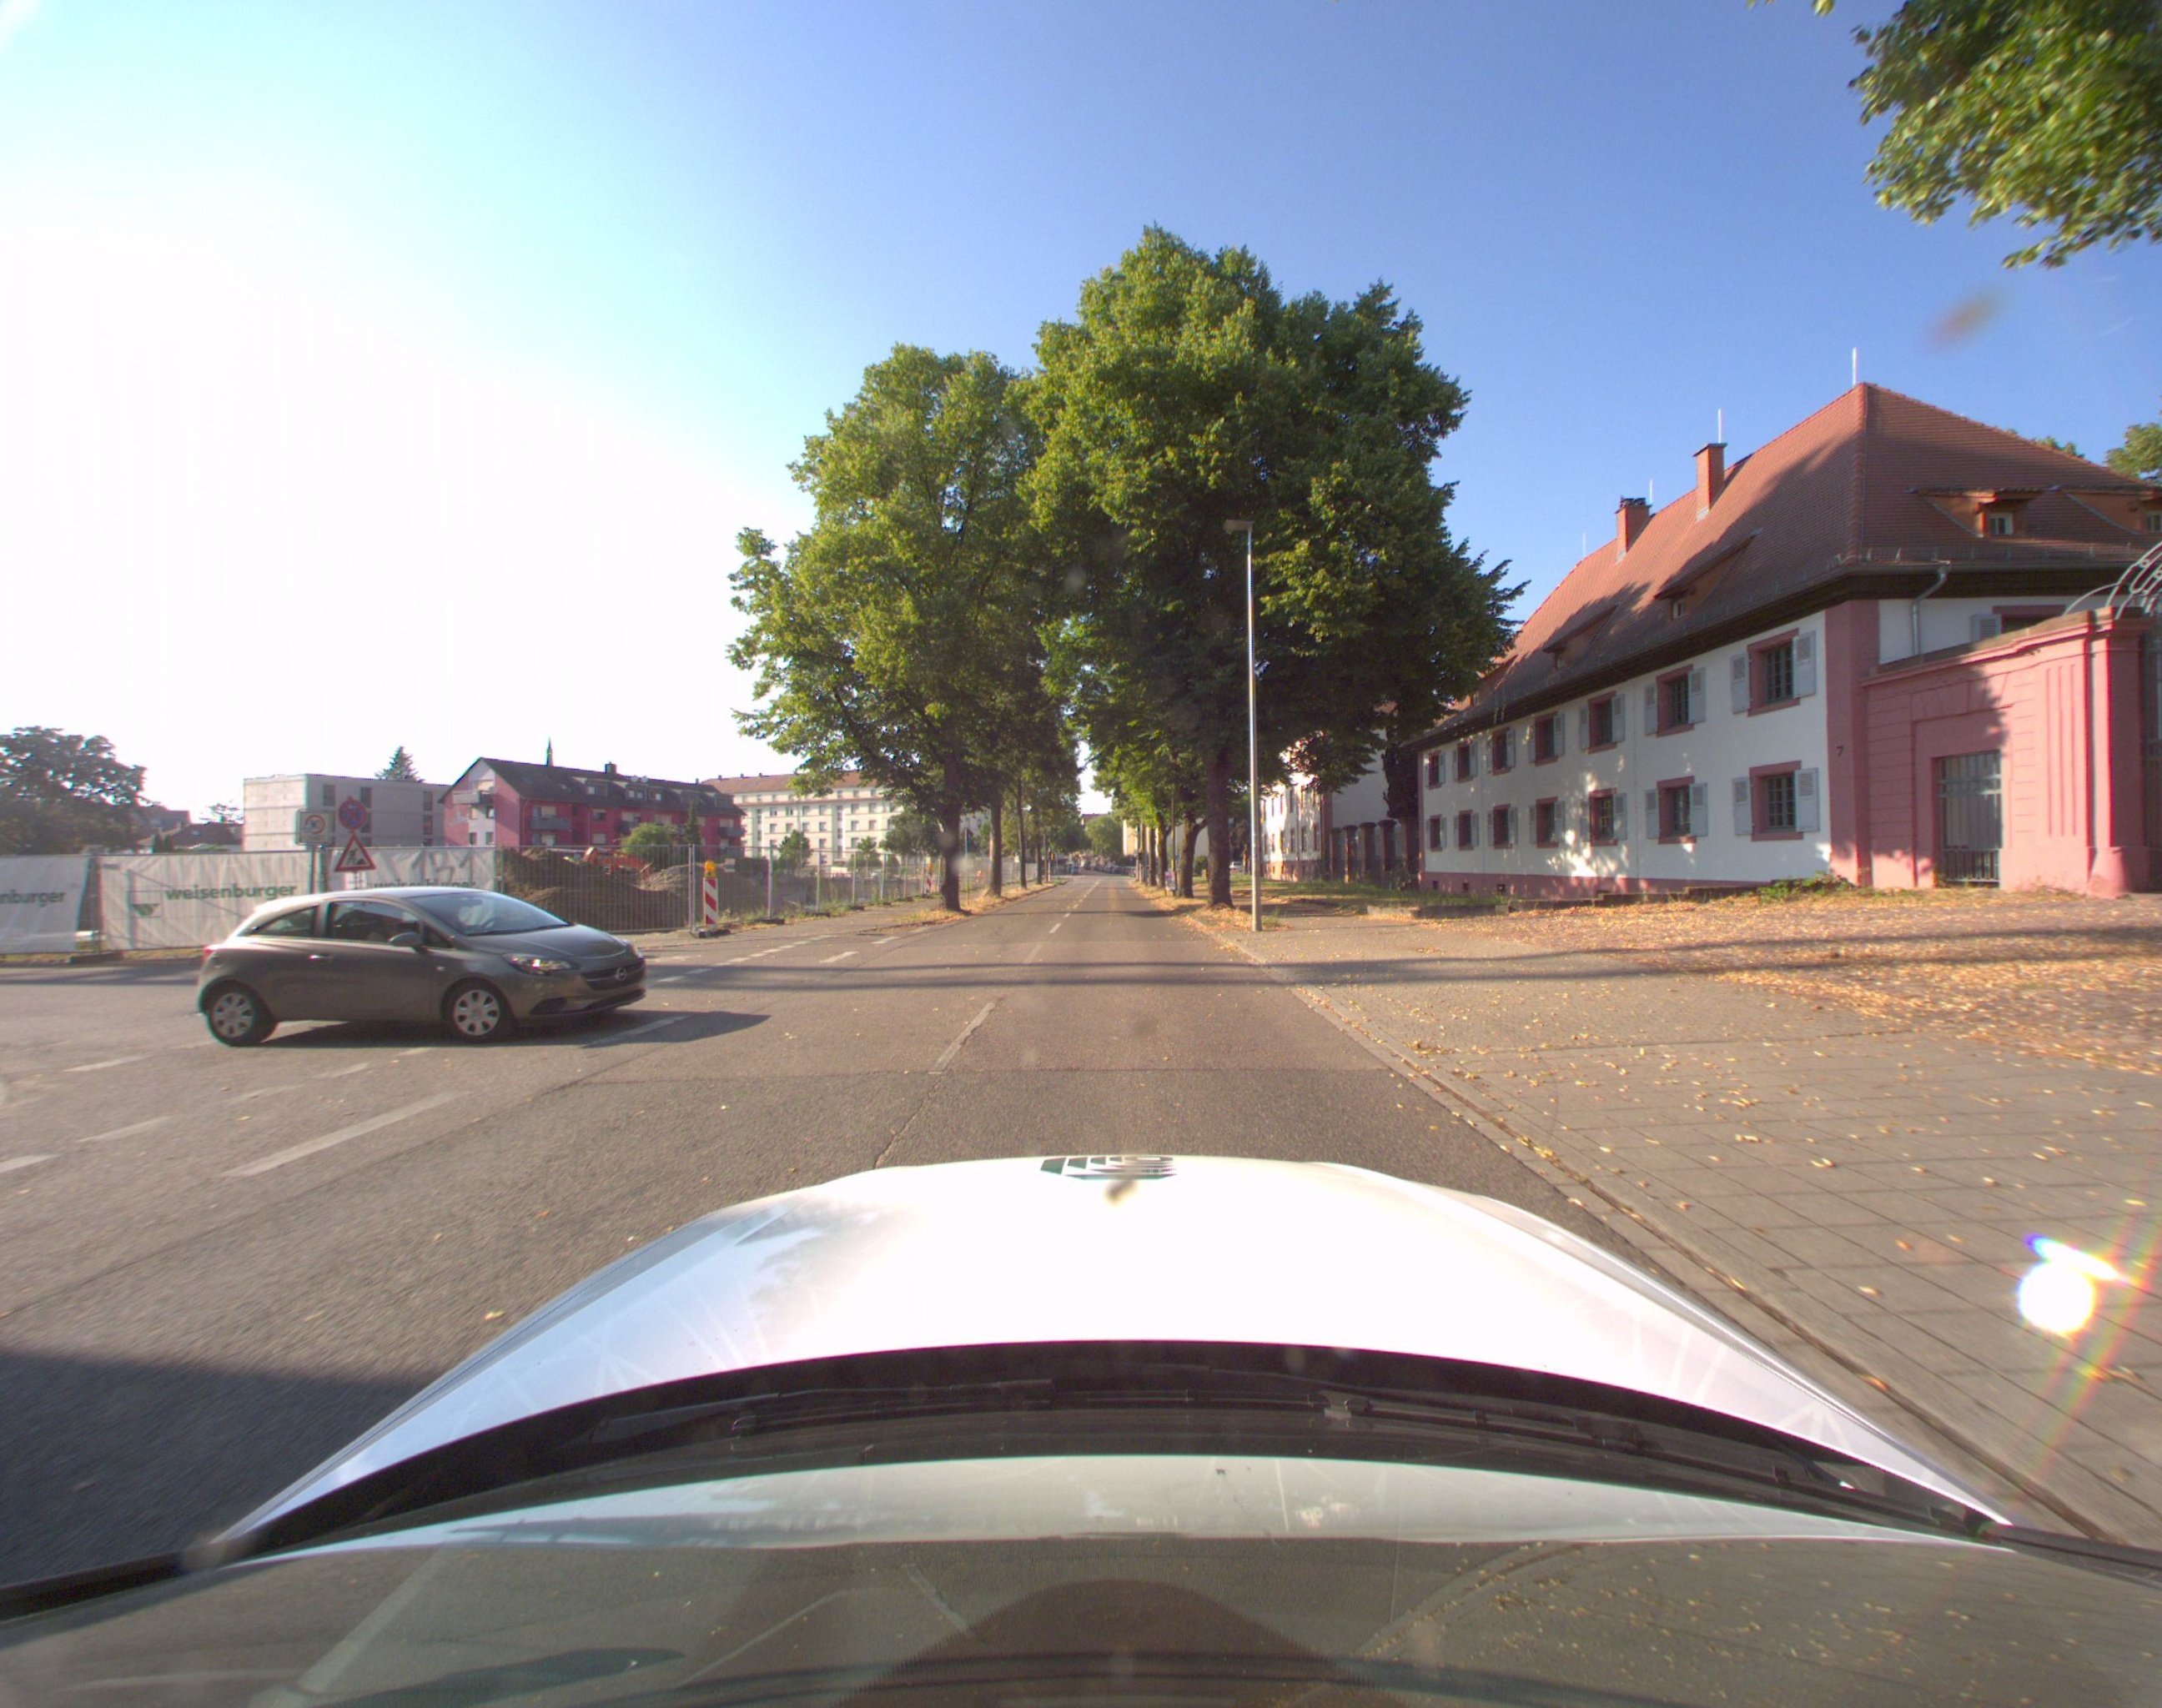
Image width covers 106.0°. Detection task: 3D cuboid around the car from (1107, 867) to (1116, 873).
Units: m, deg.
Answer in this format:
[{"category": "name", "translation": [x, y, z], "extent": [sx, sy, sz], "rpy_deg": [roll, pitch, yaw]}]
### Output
[{"category": "car", "translation": [6.969, 3.591, 184.502], "extent": [1.836, 1.386, 3.997], "rpy_deg": [-1, -1, -1]}]

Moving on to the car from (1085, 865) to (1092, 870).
[{"category": "car", "translation": [2.155, 4.026, 239.640], "extent": [1.709, 1.486, 3.997], "rpy_deg": [-1, -2, -2]}]

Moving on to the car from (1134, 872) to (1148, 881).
[{"category": "car", "translation": [8.905, 3.291, 120.904], "extent": [1.773, 1.227, 4.001], "rpy_deg": [-1, -1, 1]}]

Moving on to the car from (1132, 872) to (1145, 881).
[{"category": "car", "translation": [8.859, 3.486, 126.070], "extent": [1.834, 1.261, 4.001], "rpy_deg": [-1, -1, 1]}]

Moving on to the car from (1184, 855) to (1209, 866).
[{"category": "car", "translation": [18.973, 1.051, 133.665], "extent": [3.970, 1.728, 1.774], "rpy_deg": [1, -2, 3]}]

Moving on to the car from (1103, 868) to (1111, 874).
[{"category": "car", "translation": [6.485, 4.248, 205.213], "extent": [1.836, 1.386, 3.997], "rpy_deg": [-1, -1, -1]}]

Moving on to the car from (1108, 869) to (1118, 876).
[{"category": "car", "translation": [6.771, 3.930, 172.594], "extent": [1.836, 1.386, 3.997], "rpy_deg": [-1, -1, -1]}]

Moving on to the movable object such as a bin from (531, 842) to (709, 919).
[{"category": "movable object such as a bin", "translation": [-33.151, 1.771, 59.453], "extent": [2.982, 4.993, 11.626], "rpy_deg": [-3, -1, 24]}]

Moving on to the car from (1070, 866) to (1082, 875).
[{"category": "car", "translation": [-0.991, 3.051, 148.843], "extent": [1.989, 1.688, 3.994], "rpy_deg": [-1, -2, -4]}]

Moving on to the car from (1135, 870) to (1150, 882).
[{"category": "car", "translation": [8.216, 2.985, 109.346], "extent": [1.834, 1.574, 4.001], "rpy_deg": [-1, -1, 1]}]

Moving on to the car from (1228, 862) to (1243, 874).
[{"category": "car", "translation": [22.840, 2.084, 120.749], "extent": [1.804, 1.559, 3.629], "rpy_deg": [1, -2, 4]}]

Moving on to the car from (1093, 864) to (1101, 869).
[{"category": "car", "translation": [4.652, 3.546, 234.607], "extent": [1.837, 1.386, 3.995], "rpy_deg": [-1, -1, -3]}]

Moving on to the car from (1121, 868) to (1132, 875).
[{"category": "car", "translation": [8.055, 3.078, 143.640], "extent": [1.834, 1.261, 4.001], "rpy_deg": [-1, -1, 1]}]

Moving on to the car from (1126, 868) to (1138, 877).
[{"category": "car", "translation": [8.570, 3.053, 136.528], "extent": [1.834, 1.261, 4.001], "rpy_deg": [-4, -1, 1]}]

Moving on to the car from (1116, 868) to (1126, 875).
[{"category": "car", "translation": [7.913, 3.418, 161.388], "extent": [1.836, 1.386, 3.997], "rpy_deg": [-1, -1, -1]}]

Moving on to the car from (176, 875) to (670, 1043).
[{"category": "car", "translation": [-6.576, 1.011, 8.402], "extent": [3.827, 1.473, 1.652], "rpy_deg": [-1, -1, 4]}]
